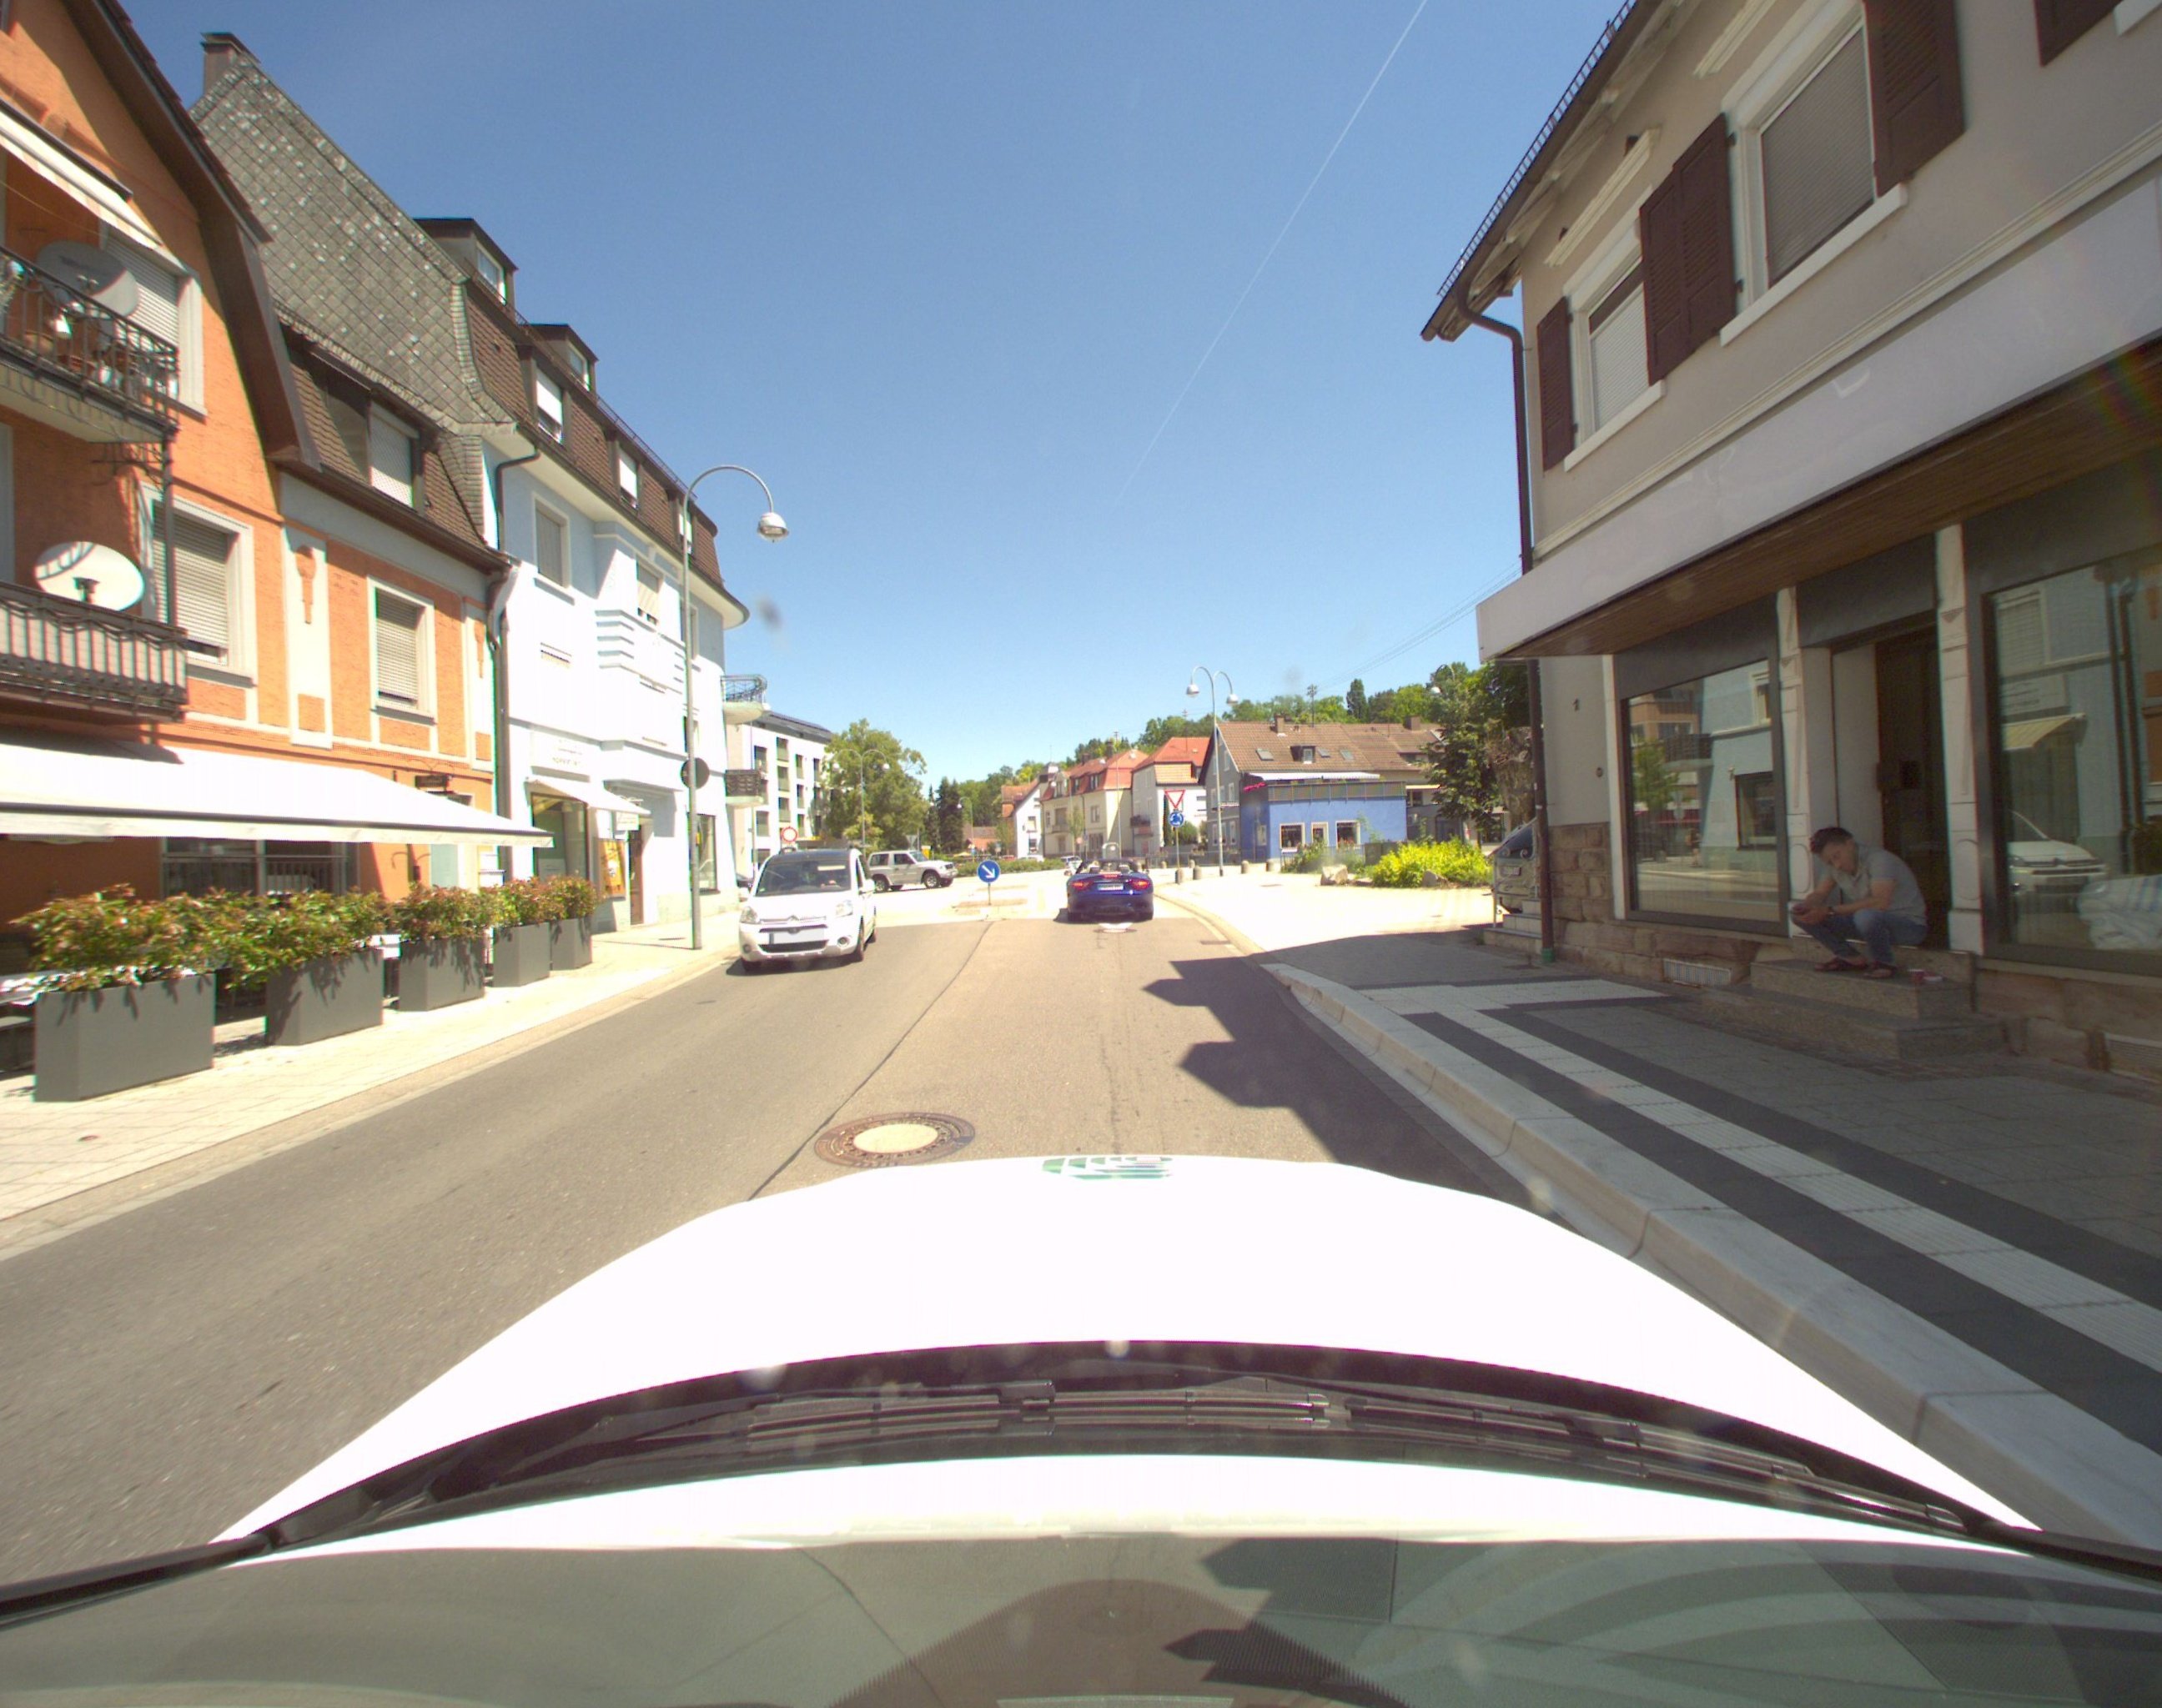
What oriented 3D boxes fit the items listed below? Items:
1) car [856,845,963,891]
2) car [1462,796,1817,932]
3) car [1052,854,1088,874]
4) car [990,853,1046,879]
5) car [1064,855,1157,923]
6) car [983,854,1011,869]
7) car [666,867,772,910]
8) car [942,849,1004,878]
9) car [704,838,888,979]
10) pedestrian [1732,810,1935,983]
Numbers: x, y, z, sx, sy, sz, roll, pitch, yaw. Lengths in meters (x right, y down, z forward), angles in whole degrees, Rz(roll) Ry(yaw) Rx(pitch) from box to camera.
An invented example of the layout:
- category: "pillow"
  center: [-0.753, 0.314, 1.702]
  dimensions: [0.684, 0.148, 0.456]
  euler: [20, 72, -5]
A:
- category: "car"
  center: [-7.605, 0.604, 36.208]
  dimensions: [4.189, 1.875, 1.769]
  euler: [-2, 0, 11]
- category: "car"
  center: [8.250, 0.144, 12.309]
  dimensions: [4.047, 1.595, 1.802]
  euler: [-4, 0, 0]
- category: "car"
  center: [-1.029, 0.894, 72.381]
  dimensions: [1.925, 1.613, 4.120]
  euler: [-3, -1, -19]
- category: "car"
  center: [-4.110, 0.788, 53.497]
  dimensions: [3.445, 1.450, 1.581]
  euler: [-3, 0, 2]
- category: "car"
  center: [0.683, 0.741, 19.071]
  dimensions: [1.903, 1.360, 4.287]
  euler: [-2, 0, 2]
- category: "car"
  center: [-10.235, 0.907, 99.391]
  dimensions: [1.862, 1.588, 3.961]
  euler: [-4, 0, -30]
- category: "car"
  center: [-17.305, 1.644, 39.019]
  dimensions: [4.220, 1.547, 1.818]
  euler: [-5, 1, 12]
- category: "car"
  center: [-5.800, 0.545, 43.288]
  dimensions: [2.005, 1.329, 4.163]
  euler: [-4, 0, -27]
- category: "car"
  center: [-4.470, 0.766, 13.542]
  dimensions: [1.993, 1.822, 4.402]
  euler: [-4, 0, -9]
- category: "pedestrian"
  center: [4.807, 0.252, 5.250]
  dimensions: [0.588, 0.999, 0.723]
  euler: [-4, 0, -1]
